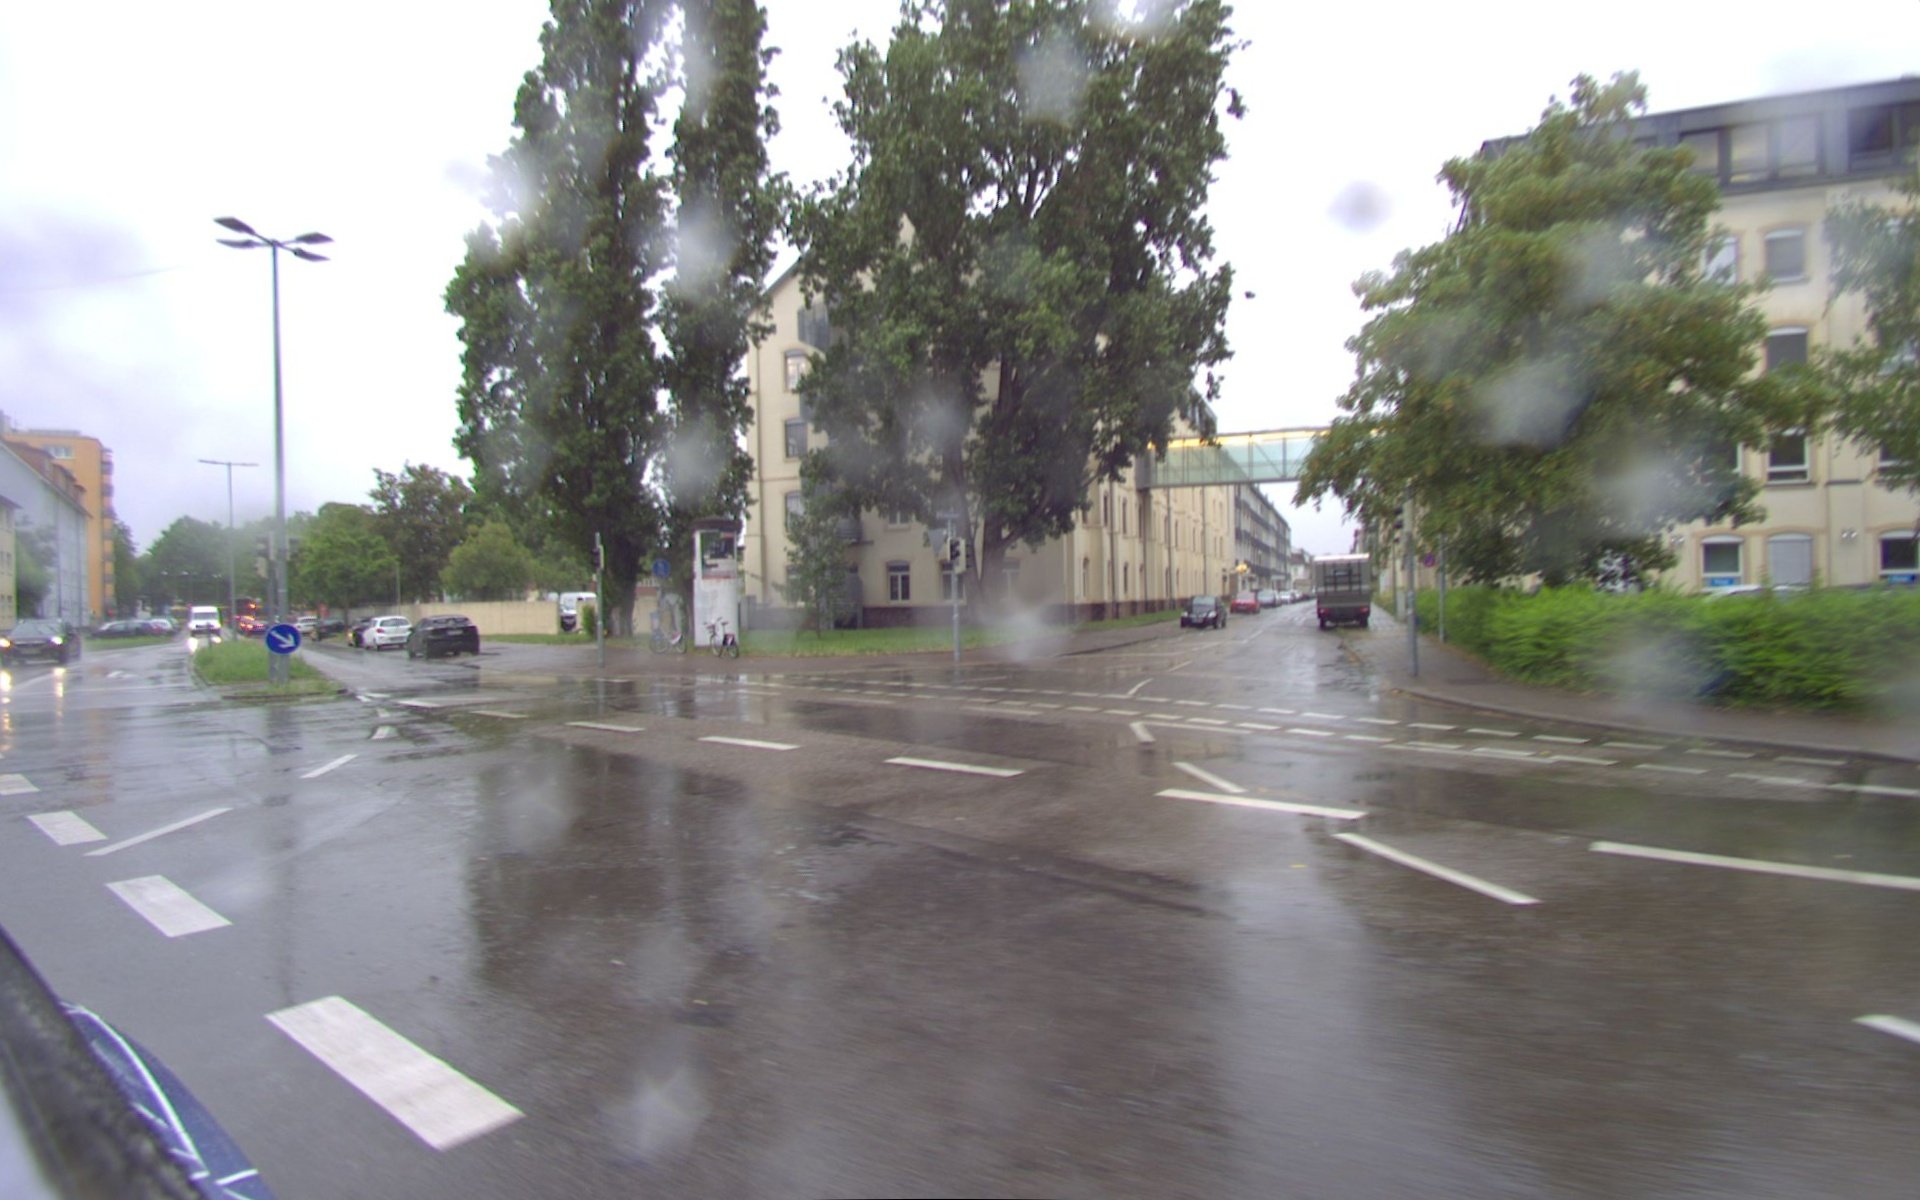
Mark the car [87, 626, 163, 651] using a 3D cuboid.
[{"bbox_3d":[-58.862,2.711,71.404,4.000,1.466,1.938,-2,-1,-36],"label":"car"}]

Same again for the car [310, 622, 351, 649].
[{"bbox_3d":[-38.568,2.137,61.943,1.674,1.456,4.106,-3,1,-38],"label":"car"}]

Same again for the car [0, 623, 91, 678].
[{"bbox_3d":[-31.113,1.652,34.391,1.802,1.641,4.011,-2,1,-32],"label":"car"}]

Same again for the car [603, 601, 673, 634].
[{"bbox_3d":[-21.279,1.164,66.873,3.965,2.006,1.989,-2,0,17],"label":"car"}]

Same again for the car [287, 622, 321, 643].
[{"bbox_3d":[-50.840,2.523,78.403,1.751,1.471,4.690,-2,1,-38],"label":"car"}]

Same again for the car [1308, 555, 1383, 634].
[{"bbox_3d":[17.190,-0.273,45.189,2.818,3.217,6.173,-2,1,21],"label":"car"}]

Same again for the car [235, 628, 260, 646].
[{"bbox_3d":[-75.417,3.925,107.033,2.038,1.755,4.184,-2,1,-36],"label":"car"}]

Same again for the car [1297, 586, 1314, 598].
[{"bbox_3d":[57.079,-1.299,167.329,2.321,1.824,5.574,-2,1,22],"label":"car"}]

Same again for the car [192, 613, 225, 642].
[{"bbox_3d":[-64.044,2.316,86.314,2.160,2.272,4.896,-2,1,-36],"label":"car"}]

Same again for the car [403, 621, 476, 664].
[{"bbox_3d":[-19.136,1.520,37.127,1.525,1.407,4.202,-3,1,-39],"label":"car"}]

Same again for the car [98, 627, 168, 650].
[{"bbox_3d":[-61.546,2.841,75.363,3.862,1.491,1.861,-2,1,-36],"label":"car"}]

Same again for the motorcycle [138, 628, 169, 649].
[{"bbox_3d":[-59.353,2.823,74.496,1.739,1.383,0.736,-2,0,-36],"label":"motorcycle"}]

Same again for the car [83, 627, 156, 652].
[{"bbox_3d":[-57.430,2.701,69.201,3.702,1.466,1.805,-2,-1,-36],"label":"car"}]

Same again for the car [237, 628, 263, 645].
[{"bbox_3d":[-63.044,3.229,89.880,1.684,1.512,3.954,2,-2,-37],"label":"car"}]

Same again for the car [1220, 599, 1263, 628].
[{"bbox_3d":[20.164,0.921,72.310,2.321,1.824,5.574,-2,1,22],"label":"car"}]

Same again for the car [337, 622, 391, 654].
[{"bbox_3d":[-29.693,1.857,50.340,1.705,1.393,4.188,-4,2,-38],"label":"car"}]

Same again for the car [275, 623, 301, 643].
[{"bbox_3d":[-63.267,3.070,95.228,1.852,1.694,4.047,-2,1,-36],"label":"car"}]

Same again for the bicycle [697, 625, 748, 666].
[{"bbox_3d":[-6.683,1.257,28.402,0.549,1.085,1.798,-2,1,-43],"label":"bicycle"}]

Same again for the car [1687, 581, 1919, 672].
[{"bbox_3d":[17.261,0.525,20.245,3.990,1.699,1.772,-1,-1,17],"label":"car"}]

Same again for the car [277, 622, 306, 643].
[{"bbox_3d":[-56.034,2.675,84.759,1.604,1.610,3.805,-2,1,-40],"label":"car"}]

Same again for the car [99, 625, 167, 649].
[{"bbox_3d":[-63.098,2.823,77.276,3.862,1.627,1.696,-2,1,-36],"label":"car"}]

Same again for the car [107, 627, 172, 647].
[{"bbox_3d":[-69.004,3.084,85.148,4.106,1.487,1.654,-2,1,-36],"label":"car"}]

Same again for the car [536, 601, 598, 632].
[{"bbox_3d":[-32.714,1.393,84.292,4.691,2.414,2.133,-2,0,24],"label":"car"}]

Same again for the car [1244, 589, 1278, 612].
[{"bbox_3d":[26.724,0.030,89.656,2.321,1.824,5.574,-2,1,22],"label":"car"}]

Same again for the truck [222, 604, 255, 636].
[{"bbox_3d":[-106.569,2.942,149.362,3.773,4.418,10.810,-2,1,-36],"label":"truck"}]

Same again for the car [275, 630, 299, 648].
[{"bbox_3d":[-59.269,3.407,89.107,1.668,1.464,3.727,-2,1,-35],"label":"car"}]

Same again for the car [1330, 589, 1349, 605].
[{"bbox_3d":[46.636,-0.384,124.250,1.987,1.868,3.970,-2,1,23],"label":"car"}]

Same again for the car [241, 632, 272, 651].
[{"bbox_3d":[-54.892,3.191,78.925,1.705,1.404,3.958,2,-2,-38],"label":"car"}]

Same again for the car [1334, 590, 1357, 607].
[{"bbox_3d":[44.912,-0.196,117.806,2.321,1.824,4.699,-2,1,22],"label":"car"}]

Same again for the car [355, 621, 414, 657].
[{"bbox_3d":[-26.127,1.730,45.910,1.582,1.485,4.129,-2,1,-40],"label":"car"}]

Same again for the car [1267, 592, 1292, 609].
[{"bbox_3d":[37.817,0.035,119.793,2.321,1.824,5.574,-2,1,22],"label":"car"}]

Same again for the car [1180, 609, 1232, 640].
[{"bbox_3d":[12.052,1.166,49.421,1.894,1.279,4.067,-2,1,22],"label":"car"}]

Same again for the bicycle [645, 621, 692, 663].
[{"bbox_3d":[-8.902,1.268,30.880,0.689,1.195,1.626,-2,1,-43],"label":"bicycle"}]
